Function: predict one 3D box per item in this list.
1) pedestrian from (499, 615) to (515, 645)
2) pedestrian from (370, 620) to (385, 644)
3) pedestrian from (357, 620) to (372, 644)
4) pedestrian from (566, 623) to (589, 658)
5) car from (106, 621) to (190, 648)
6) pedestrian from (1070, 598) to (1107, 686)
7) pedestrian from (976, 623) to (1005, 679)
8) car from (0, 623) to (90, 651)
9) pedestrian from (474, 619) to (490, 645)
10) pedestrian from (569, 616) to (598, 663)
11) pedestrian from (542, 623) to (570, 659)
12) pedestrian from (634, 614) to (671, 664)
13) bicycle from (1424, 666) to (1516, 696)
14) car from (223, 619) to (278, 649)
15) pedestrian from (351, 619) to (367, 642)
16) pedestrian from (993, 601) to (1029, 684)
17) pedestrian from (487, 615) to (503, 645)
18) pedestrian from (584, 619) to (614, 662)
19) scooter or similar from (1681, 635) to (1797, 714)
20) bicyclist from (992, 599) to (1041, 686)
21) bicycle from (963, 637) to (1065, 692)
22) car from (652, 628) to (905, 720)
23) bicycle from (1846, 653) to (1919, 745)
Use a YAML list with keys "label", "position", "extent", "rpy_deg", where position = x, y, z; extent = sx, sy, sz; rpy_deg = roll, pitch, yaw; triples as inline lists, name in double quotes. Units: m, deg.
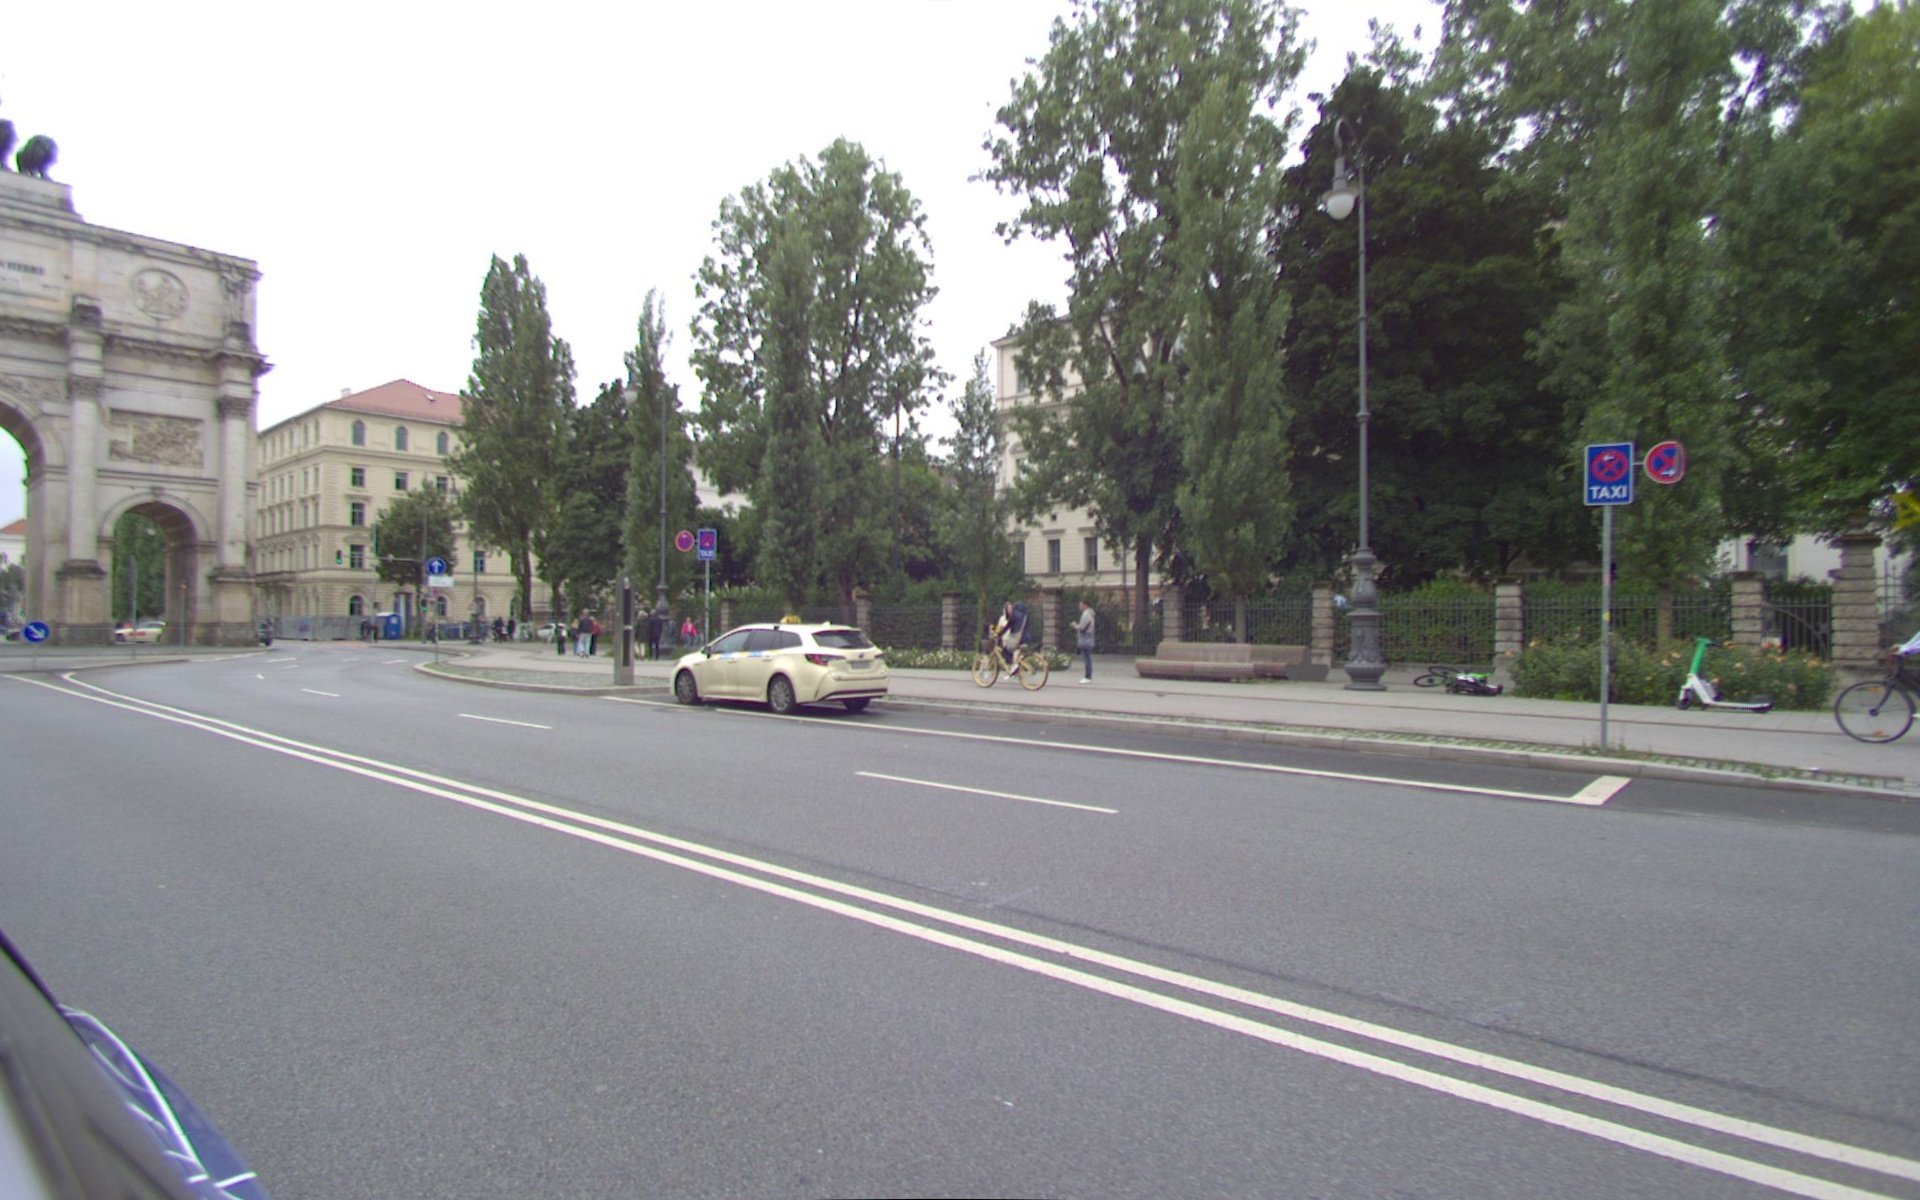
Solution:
- label: "pedestrian"
  position: [-30.530, 2.009, 68.246]
  extent: [0.758, 2.029, 0.888]
  rpy_deg: [1, -2, -39]
- label: "pedestrian"
  position: [-44.793, 2.432, 77.830]
  extent: [0.868, 1.836, 0.687]
  rpy_deg: [1, -2, -39]
- label: "pedestrian"
  position: [-45.261, 2.438, 76.962]
  extent: [0.868, 1.836, 0.687]
  rpy_deg: [1, -2, -39]
- label: "pedestrian"
  position: [-16.797, 1.771, 44.421]
  extent: [0.718, 1.528, 0.843]
  rpy_deg: [-1, 0, -38]
- label: "car"
  position: [-53.060, 2.245, 66.187]
  extent: [3.946, 1.763, 1.999]
  rpy_deg: [0, -1, 2]
- label: "pedestrian"
  position: [2.614, 0.851, 20.628]
  extent: [0.581, 1.744, 0.527]
  rpy_deg: [-1, -2, 31]
- label: "pedestrian"
  position: [0.662, 1.121, 22.371]
  extent: [0.524, 1.220, 0.585]
  rpy_deg: [0, -2, -10]
- label: "car"
  position: [-58.255, 2.349, 64.384]
  extent: [3.939, 1.763, 2.002]
  rpy_deg: [0, -1, -4]
- label: "pedestrian"
  position: [-33.880, 2.285, 71.763]
  extent: [0.868, 1.836, 0.687]
  rpy_deg: [1, -2, -39]
- label: "pedestrian"
  position: [-14.514, 1.507, 38.986]
  extent: [0.944, 1.731, 1.034]
  rpy_deg: [-1, 0, -26]
- label: "pedestrian"
  position: [-17.586, 1.781, 44.088]
  extent: [0.875, 1.528, 1.032]
  rpy_deg: [-1, 0, -38]
- label: "pedestrian"
  position: [-10.983, 1.376, 36.148]
  extent: [0.945, 1.731, 1.033]
  rpy_deg: [-1, 0, -36]
- label: "bicycle"
  position: [10.115, 1.603, 20.184]
  extent: [1.331, 0.456, 2.203]
  rpy_deg: [-2, -2, 19]
- label: "car"
  position: [-46.011, 2.184, 65.610]
  extent: [3.998, 1.829, 1.973]
  rpy_deg: [-1, -2, 41]
- label: "pedestrian"
  position: [-48.589, 2.492, 81.811]
  extent: [1.017, 1.836, 0.883]
  rpy_deg: [1, -2, -41]
- label: "pedestrian"
  position: [1.095, 0.899, 21.706]
  extent: [0.581, 1.744, 0.527]
  rpy_deg: [-1, -2, 31]
- label: "pedestrian"
  position: [-31.119, 2.014, 67.709]
  extent: [0.758, 2.029, 0.888]
  rpy_deg: [1, -2, -39]
- label: "pedestrian"
  position: [-16.048, 1.787, 45.014]
  extent: [0.976, 1.885, 1.032]
  rpy_deg: [-1, 0, -38]
- label: "scooter or similar"
  position: [12.339, 1.153, 16.071]
  extent: [1.414, 1.187, 0.738]
  rpy_deg: [-1, -3, 37]
- label: "bicyclist"
  position: [1.067, 0.793, 19.137]
  extent: [0.660, 1.604, 0.639]
  rpy_deg: [-1, -1, 40]
- label: "bicycle"
  position: [1.006, 1.204, 19.192]
  extent: [1.913, 0.959, 0.666]
  rpy_deg: [-1, -1, 41]
- label: "car"
  position: [-3.152, 1.157, 17.078]
  extent: [4.465, 1.347, 1.774]
  rpy_deg: [-1, -2, 40]
- label: "bicycle"
  position: [10.785, 1.077, 10.850]
  extent: [1.913, 0.959, 0.464]
  rpy_deg: [-1, -1, 41]
